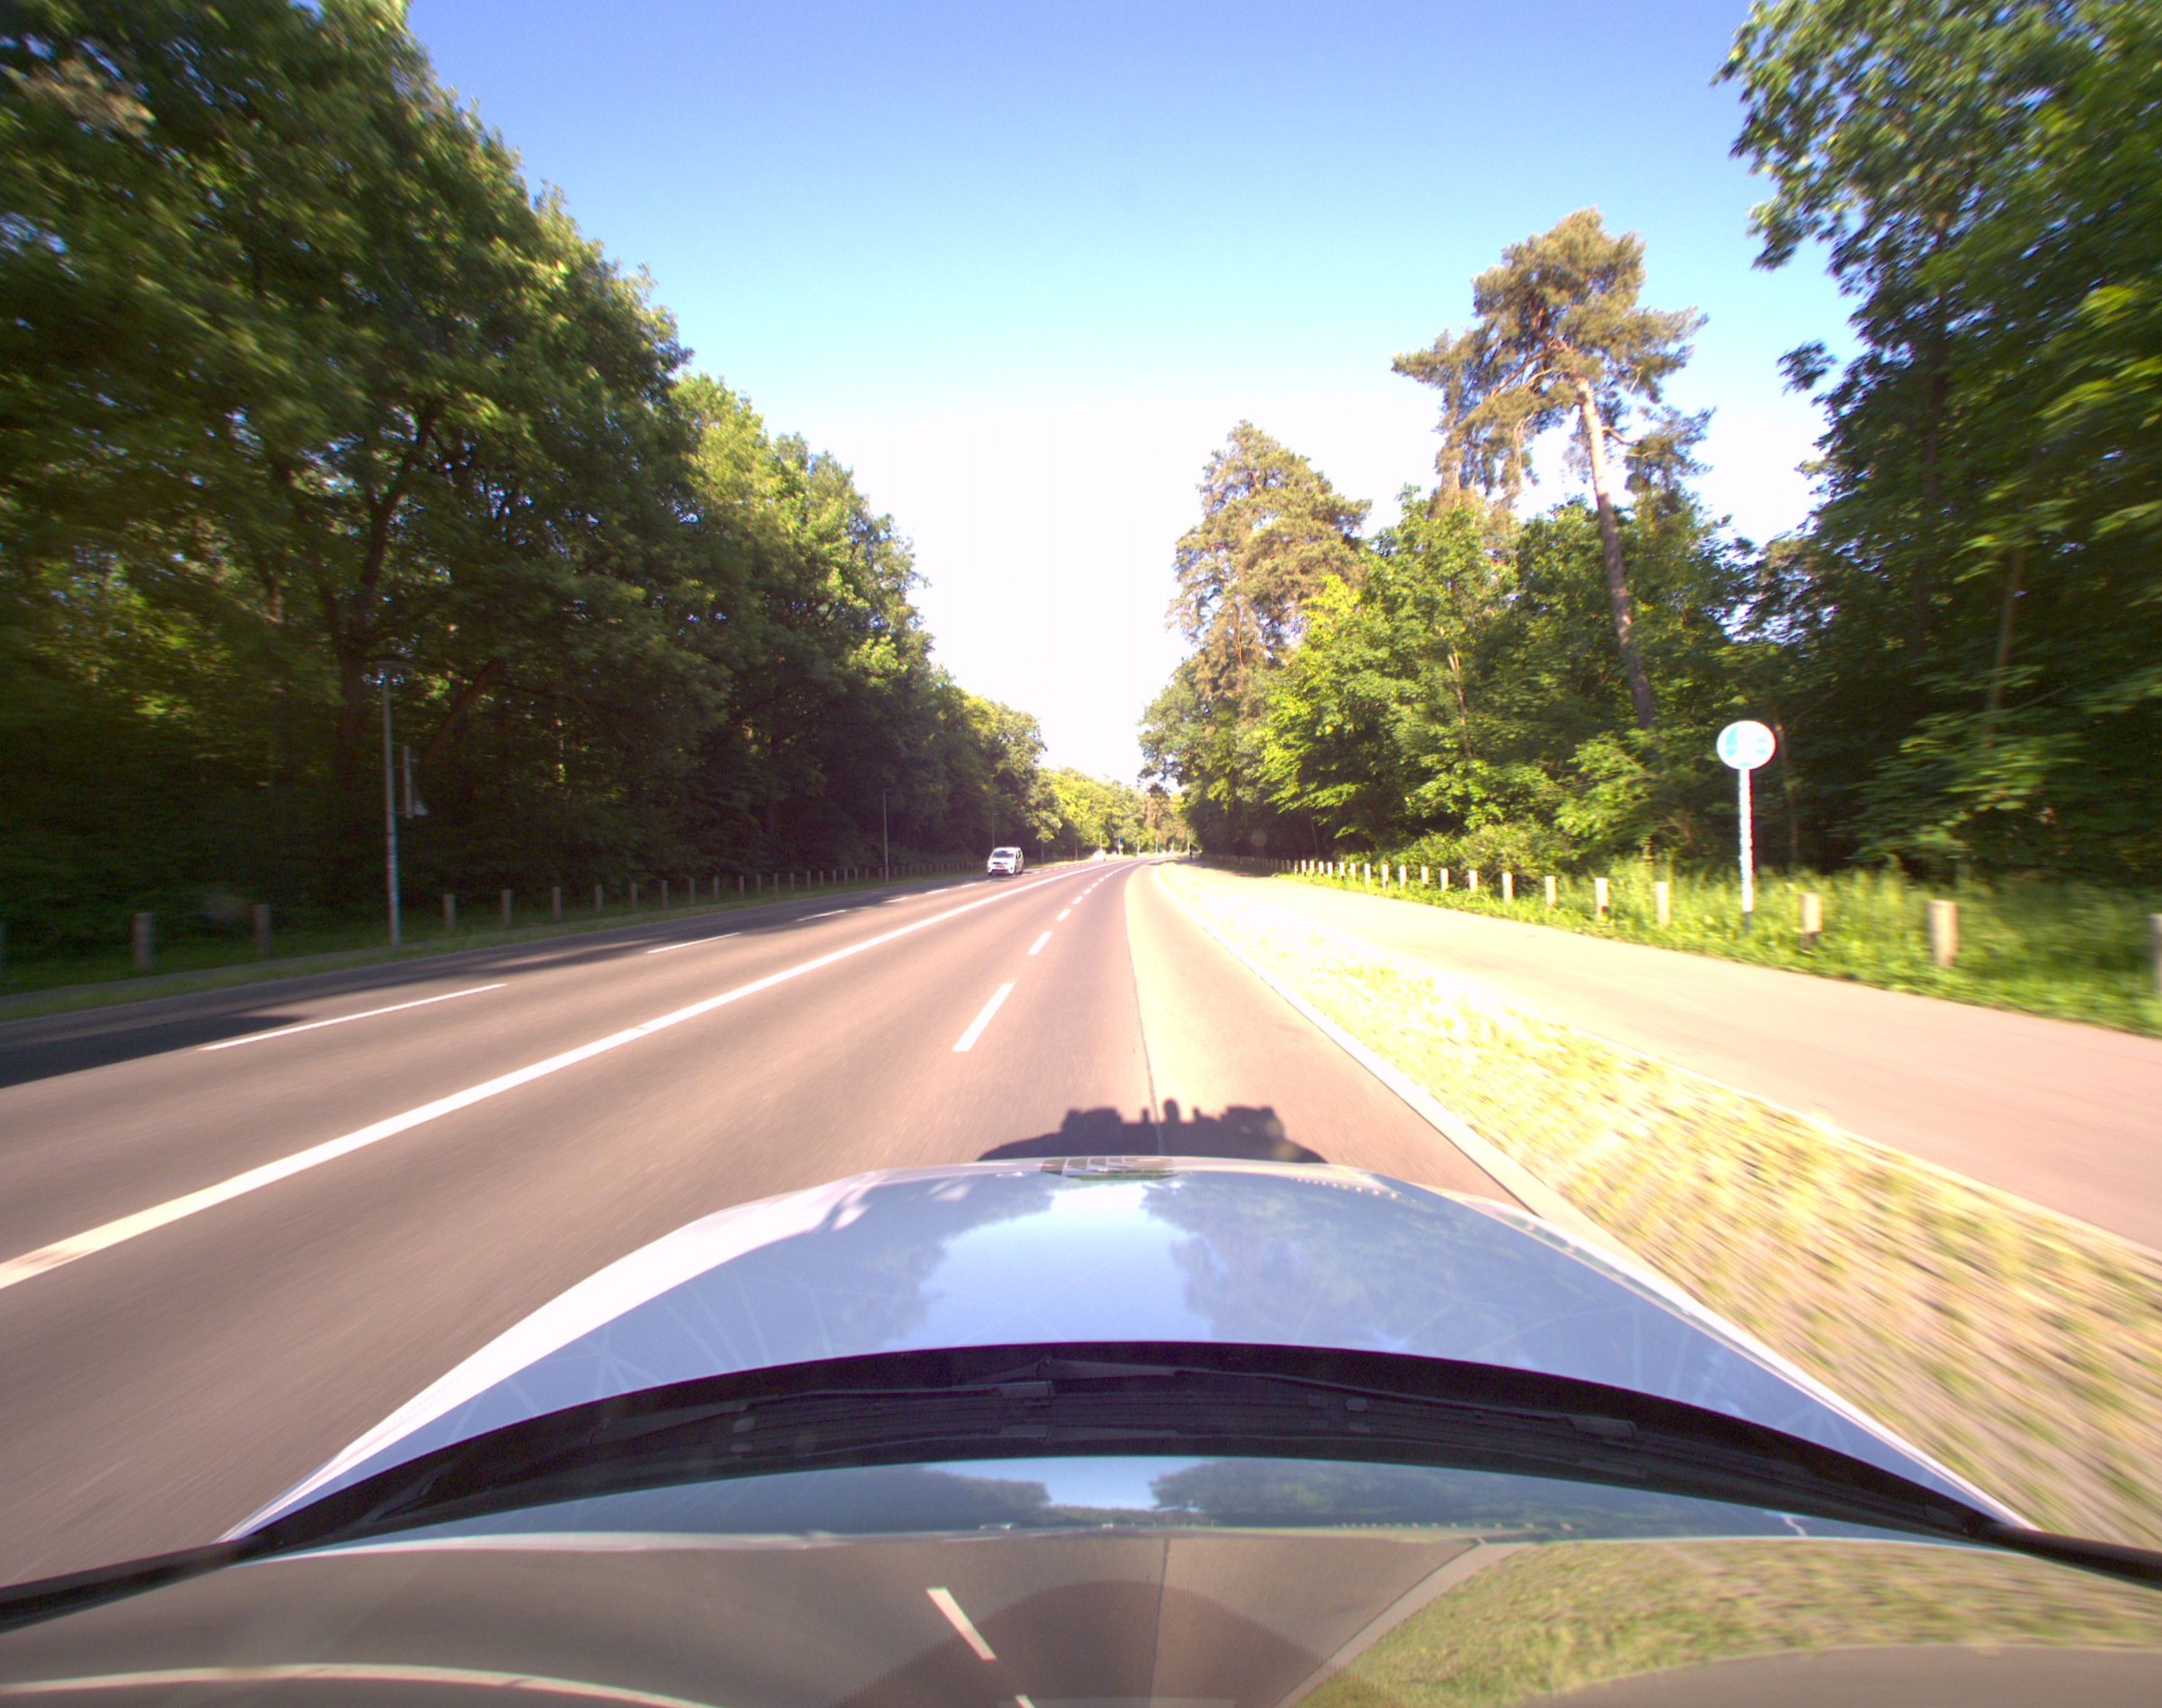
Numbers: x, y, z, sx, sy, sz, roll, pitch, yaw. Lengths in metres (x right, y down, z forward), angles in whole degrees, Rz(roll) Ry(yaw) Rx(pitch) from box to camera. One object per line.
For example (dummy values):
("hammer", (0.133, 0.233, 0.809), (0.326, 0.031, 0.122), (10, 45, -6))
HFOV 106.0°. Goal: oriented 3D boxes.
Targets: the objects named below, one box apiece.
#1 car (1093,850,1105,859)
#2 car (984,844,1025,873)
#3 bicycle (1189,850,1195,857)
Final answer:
("car", (2.910, 0.095, 132.175), (1.579, 1.437, 4.316), (1, 0, 6))
("car", (-5.034, 0.277, 54.254), (1.993, 1.826, 5.002), (1, 0, 2))
("bicycle", (15.873, -0.093, 116.277), (0.708, 1.055, 2.058), (-2, 0, 9))
